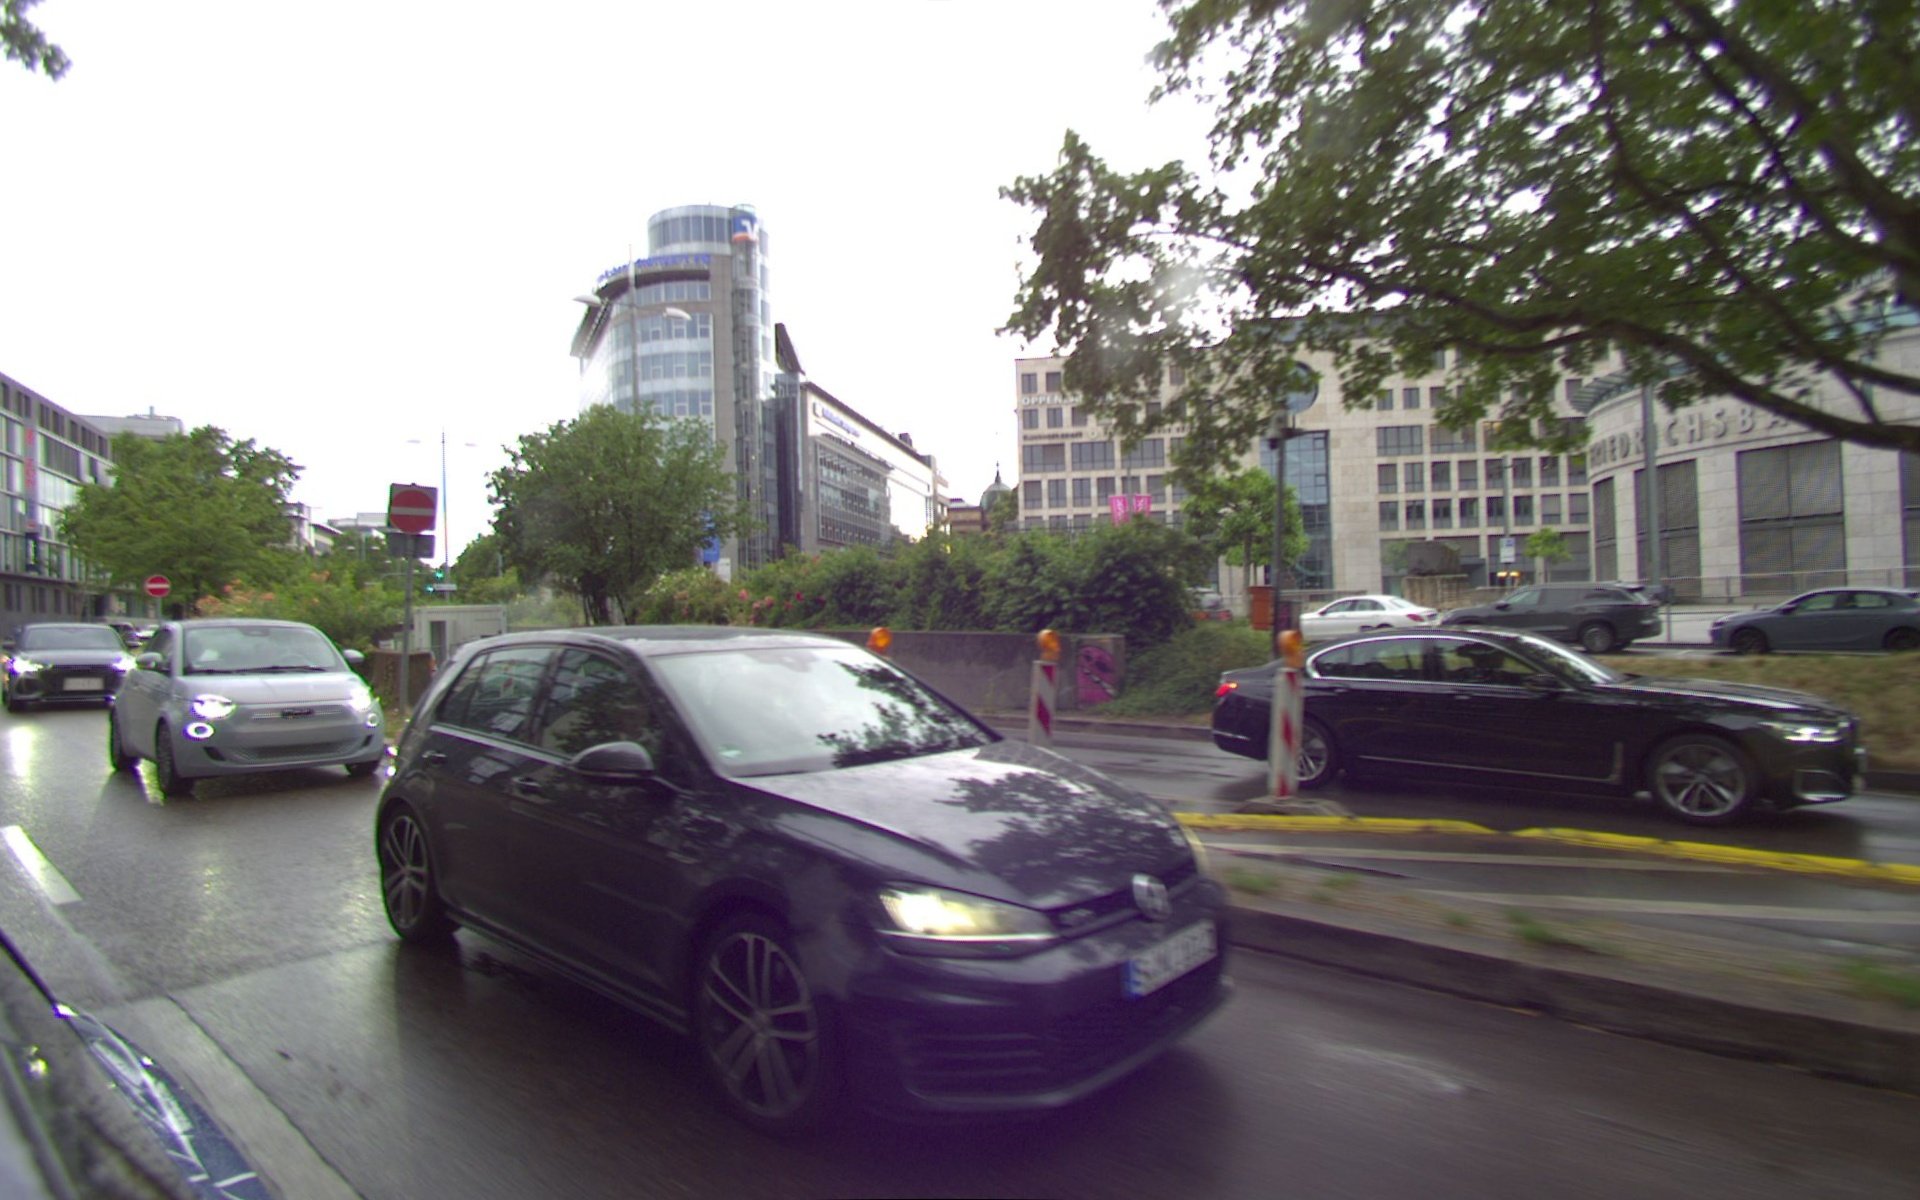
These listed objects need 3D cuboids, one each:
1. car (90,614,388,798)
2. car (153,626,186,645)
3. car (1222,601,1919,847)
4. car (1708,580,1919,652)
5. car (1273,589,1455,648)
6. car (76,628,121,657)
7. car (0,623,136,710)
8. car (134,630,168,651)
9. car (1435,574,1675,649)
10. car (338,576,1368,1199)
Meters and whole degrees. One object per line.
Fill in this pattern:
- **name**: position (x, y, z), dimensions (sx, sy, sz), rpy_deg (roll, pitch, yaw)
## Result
- **car**: position (-7.049, 0.887, 9.779), dimensions (3.492, 1.452, 1.591), rpy_deg (-2, -2, 41)
- **car**: position (-77.820, 3.456, 99.715), dimensions (1.966, 1.757, 3.922), rpy_deg (-2, 0, -29)
- **car**: position (4.964, 0.847, 8.824), dimensions (4.879, 1.490, 1.852), rpy_deg (-2, 1, 44)
- **car**: position (18.475, 0.316, 21.362), dimensions (1.820, 1.392, 4.047), rpy_deg (-1, 0, -42)
- **car**: position (11.553, 0.507, 29.142), dimensions (1.983, 1.545, 4.440), rpy_deg (-1, 0, -44)
- **car**: position (-56.995, 2.789, 67.013), dimensions (1.967, 1.757, 3.918), rpy_deg (-2, 0, -37)
- **car**: position (-16.759, 1.180, 18.898), dimensions (3.494, 1.452, 1.693), rpy_deg (-2, -2, 44)
- **car**: position (-72.975, 3.639, 91.327), dimensions (1.967, 1.757, 3.920), rpy_deg (-2, 0, -34)
- **car**: position (14.507, 0.264, 24.873), dimensions (1.970, 1.664, 4.730), rpy_deg (-1, 0, -44)
- **car**: position (-0.773, 0.716, 4.075), dimensions (4.120, 1.463, 1.766), rpy_deg (-2, 0, 41)
